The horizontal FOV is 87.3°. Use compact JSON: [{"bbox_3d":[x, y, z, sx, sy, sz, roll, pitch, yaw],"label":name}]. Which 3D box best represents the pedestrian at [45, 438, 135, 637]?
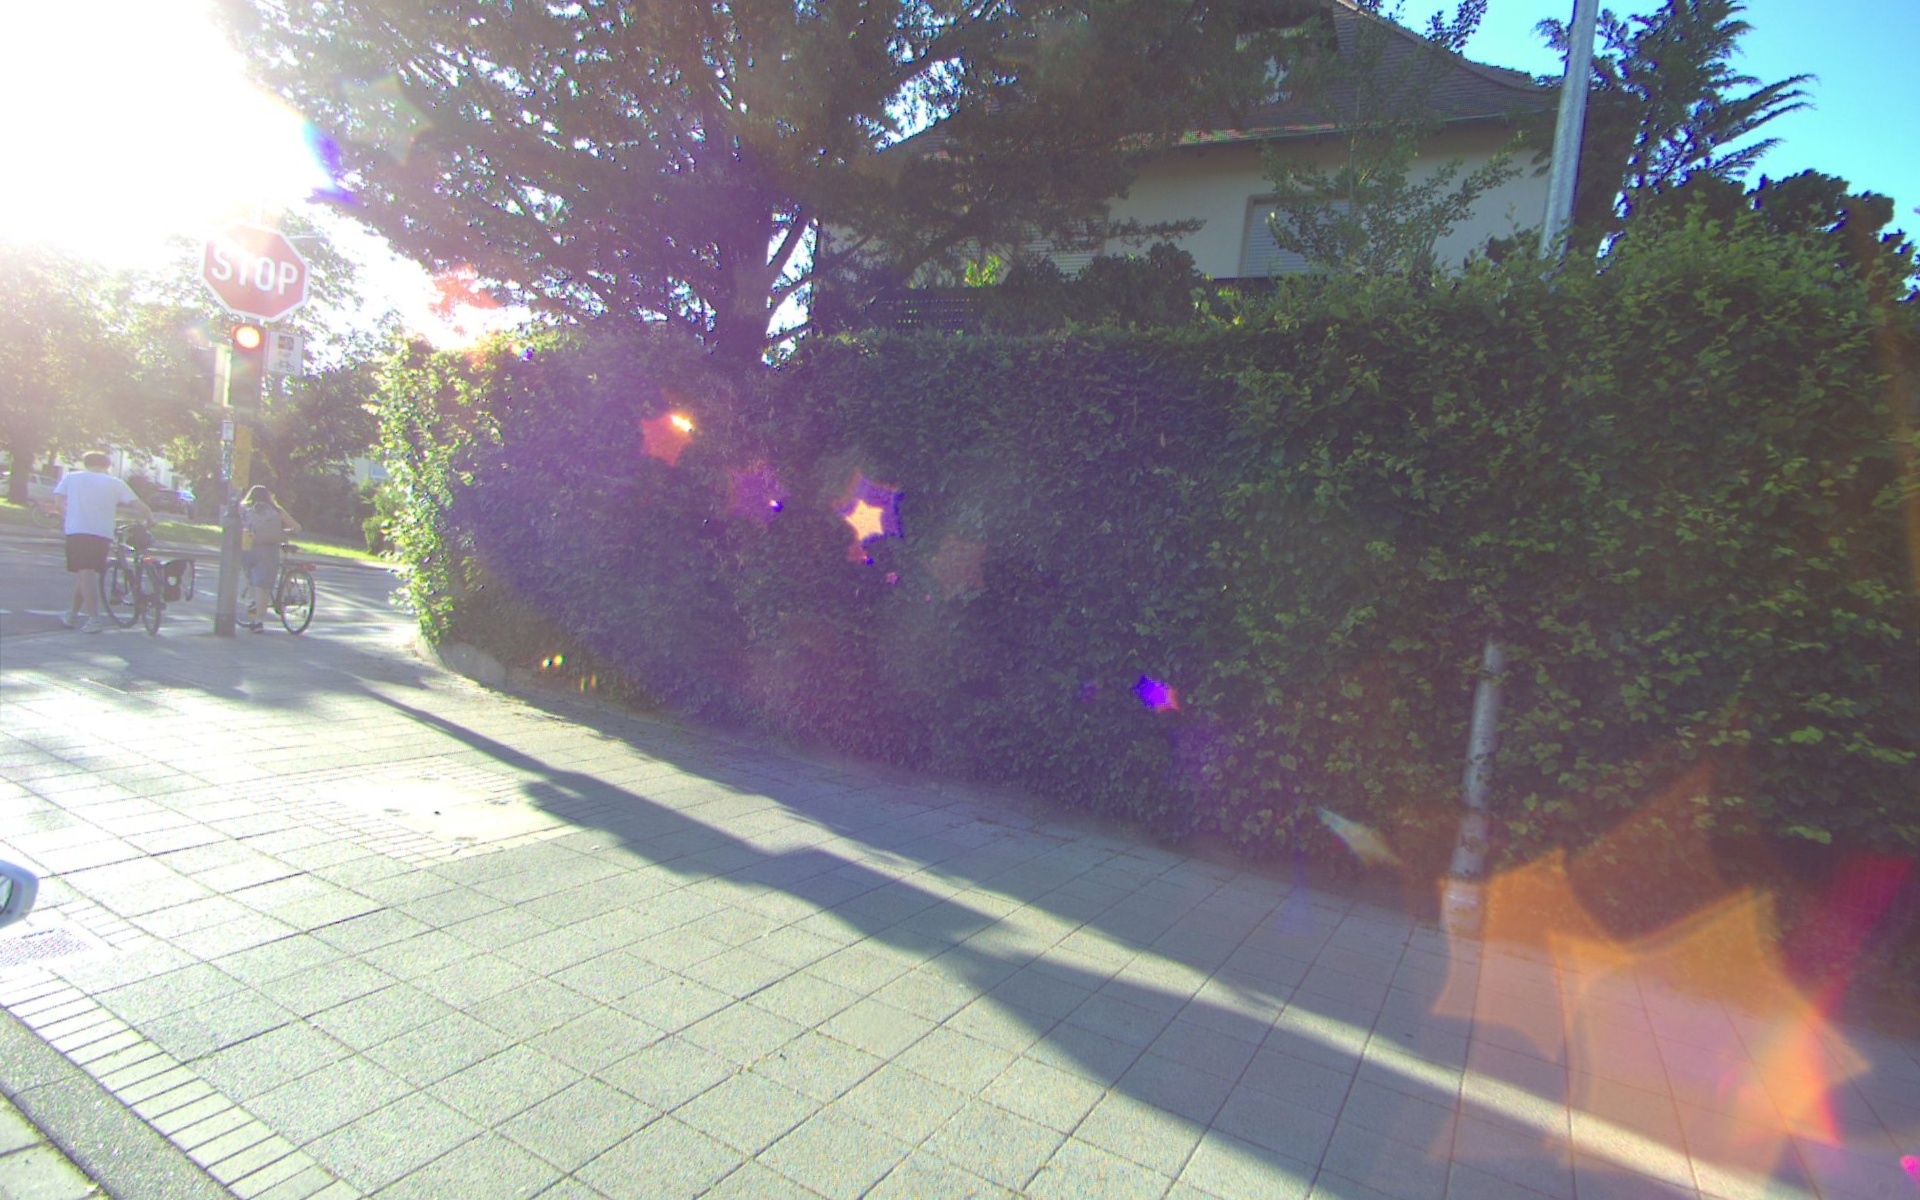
[{"bbox_3d":[-8.720,-0.619,10.105,0.624,1.893,0.765,2,5,-40],"label":"pedestrian"}]

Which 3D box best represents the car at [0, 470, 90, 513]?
[{"bbox_3d":[-46.438,-5.476,50.411,1.497,1.542,3.933,6,-2,25],"label":"car"}]

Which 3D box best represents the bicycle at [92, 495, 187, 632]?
[{"bbox_3d":[-8.244,-0.386,10.113,0.570,1.197,1.884,8,-2,-40],"label":"bicycle"}]

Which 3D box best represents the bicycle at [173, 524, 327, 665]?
[{"bbox_3d":[-7.735,-0.077,10.921,1.930,1.198,0.492,10,1,31],"label":"bicycle"}]

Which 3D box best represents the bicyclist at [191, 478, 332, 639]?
[{"bbox_3d":[-7.559,-0.435,10.913,0.877,1.580,0.715,7,-1,18],"label":"bicyclist"}]

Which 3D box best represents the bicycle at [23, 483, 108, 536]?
[{"bbox_3d":[-23.323,-2.342,26.255,0.460,1.103,1.520,15,6,39],"label":"bicycle"}]
